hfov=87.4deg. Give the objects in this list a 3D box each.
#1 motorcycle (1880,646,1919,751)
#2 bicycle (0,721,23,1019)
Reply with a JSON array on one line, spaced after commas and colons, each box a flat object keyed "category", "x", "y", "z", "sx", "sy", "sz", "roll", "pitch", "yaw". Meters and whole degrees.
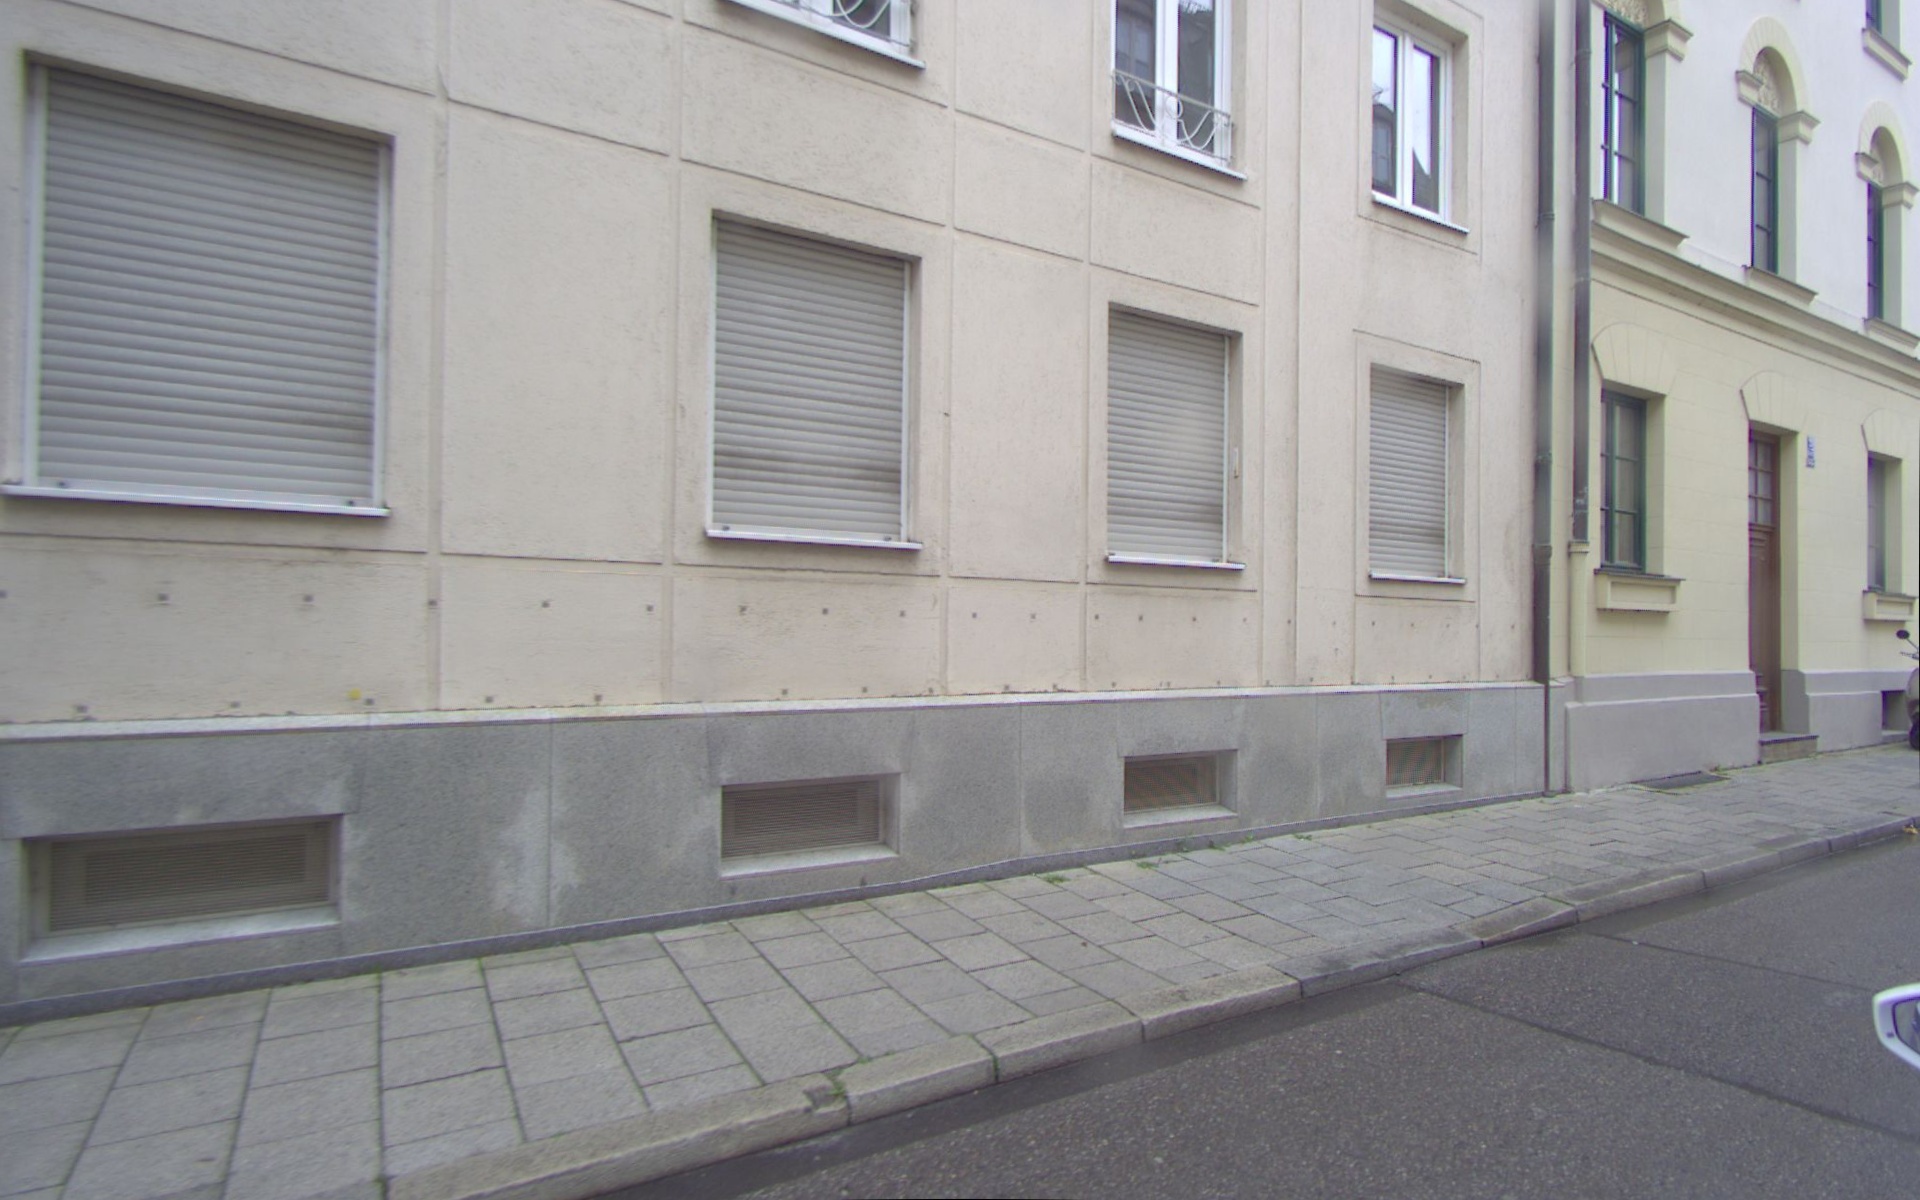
[{"category": "motorcycle", "x": 11.803, "y": 1.163, "z": 12.092, "sx": 1.689, "sy": 1.189, "sz": 0.599, "roll": 1, "pitch": 0, "yaw": -31}, {"category": "bicycle", "x": -3.845, "y": 0.885, "z": 2.952, "sx": 1.555, "sy": 0.956, "sz": 0.318, "roll": 1, "pitch": 2, "yaw": -29}]
